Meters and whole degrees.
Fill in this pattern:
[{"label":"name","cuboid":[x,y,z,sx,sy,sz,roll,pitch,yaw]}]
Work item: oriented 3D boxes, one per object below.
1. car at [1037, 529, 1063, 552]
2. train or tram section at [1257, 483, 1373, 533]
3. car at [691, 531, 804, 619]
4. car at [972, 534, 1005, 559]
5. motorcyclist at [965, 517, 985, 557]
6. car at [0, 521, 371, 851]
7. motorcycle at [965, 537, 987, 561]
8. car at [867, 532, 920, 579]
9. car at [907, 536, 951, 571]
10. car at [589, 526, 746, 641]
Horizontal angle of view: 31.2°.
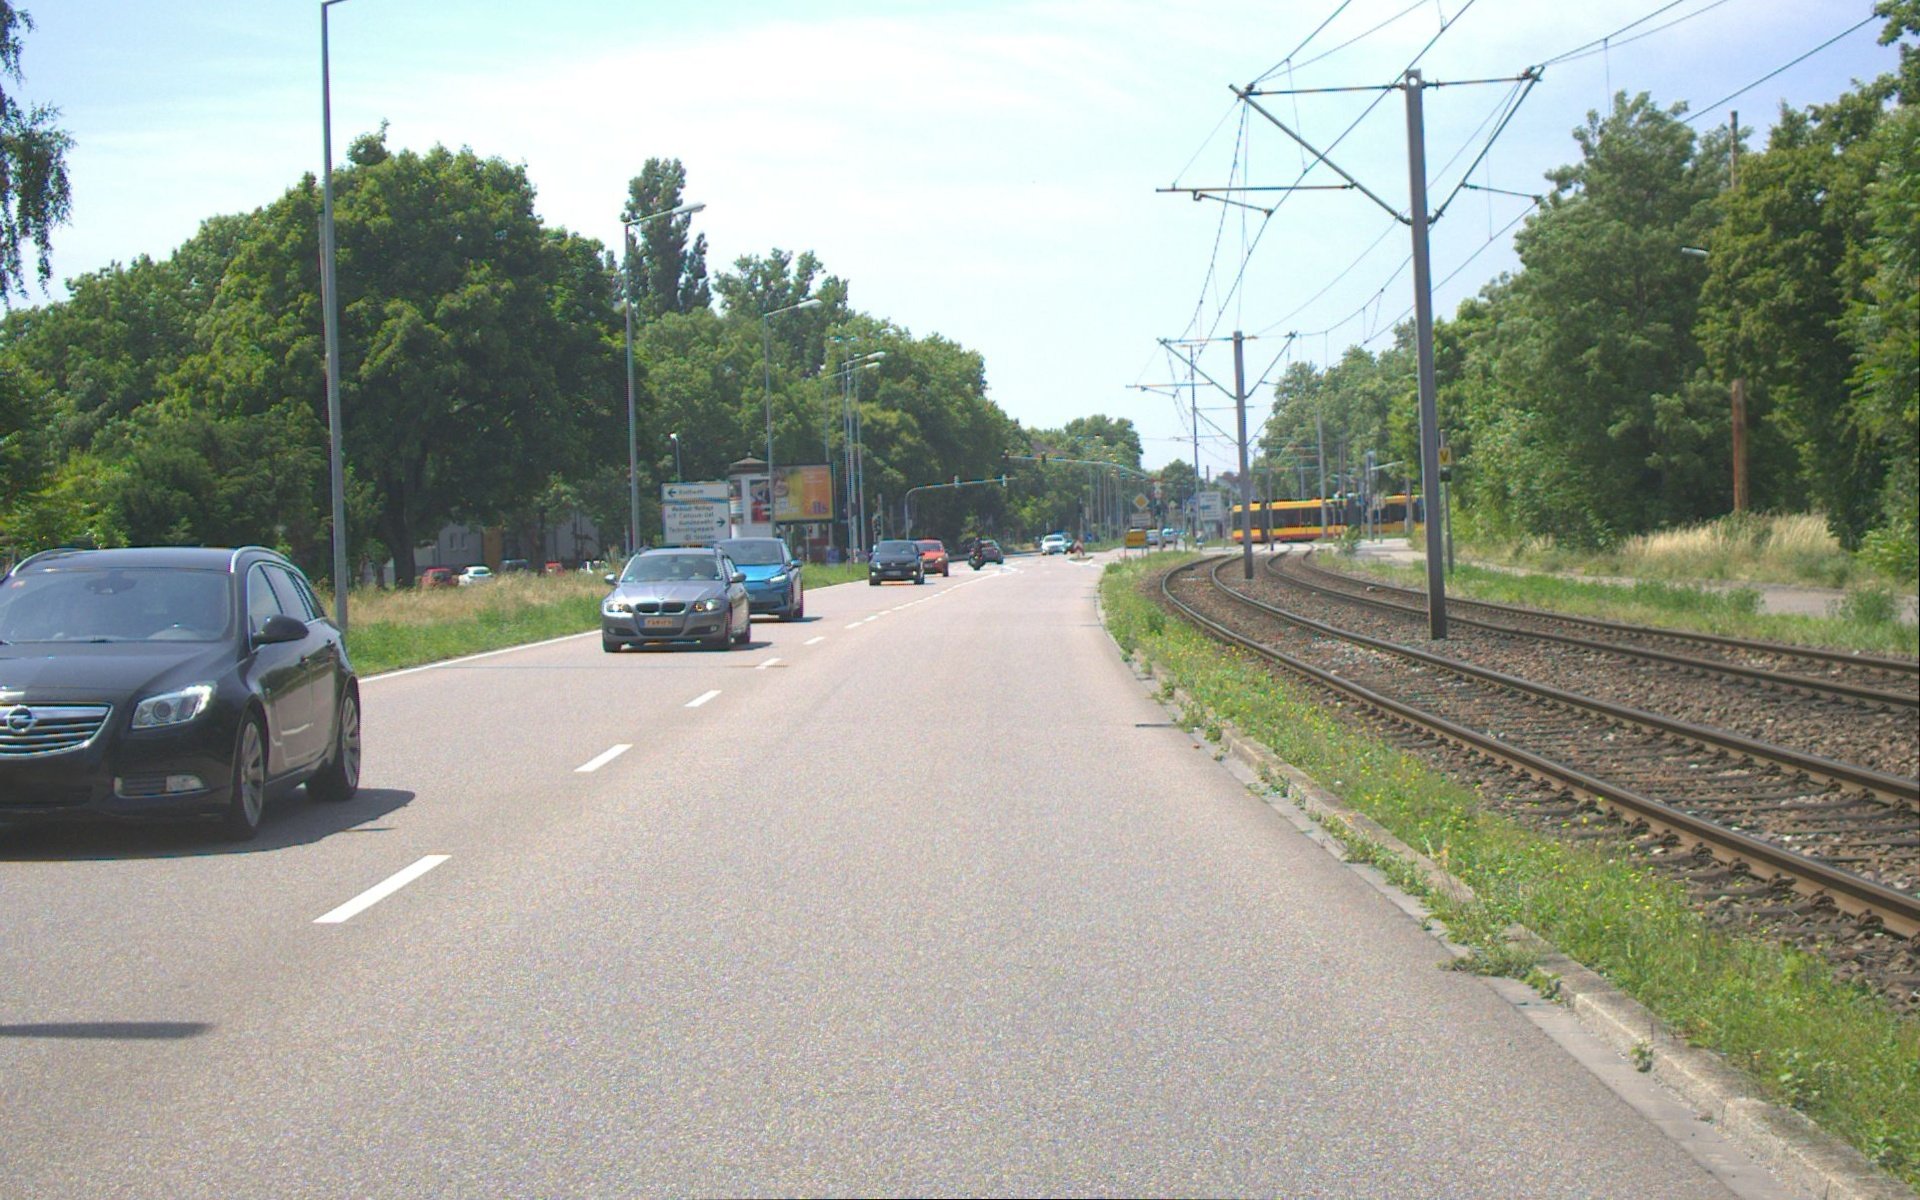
[{"label":"car","cuboid":[6.701,-4.435,256.293,1.823,1.609,4.363,-1,1,1]},{"label":"train or tram section","cuboid":[26.431,-6.837,256.309,8.482,3.484,2.369,-1,1,5]},{"label":"car","cuboid":[-3.910,-0.485,63.911,1.817,1.532,4.364,-1,1,0]},{"label":"car","cuboid":[1.635,-3.071,198.555,1.627,1.390,4.363,-1,1,4]},{"label":"motorcyclist","cuboid":[0.718,-2.997,163.571,0.891,1.898,1.015,-1,1,1]},{"label":"car","cuboid":[-4.417,0.376,18.266,1.817,1.523,4.364,-1,1,0]},{"label":"motorcycle","cuboid":[0.750,-2.436,163.595,0.970,1.113,2.733,-1,1,1]},{"label":"car","cuboid":[-2.165,-1.453,112.403,1.627,1.485,4.364,-1,1,0]},{"label":"car","cuboid":[-1.185,-1.812,133.454,1.627,1.310,4.363,-1,1,0]},{"label":"car","cuboid":[-4.046,-0.254,48.123,1.817,1.488,4.364,-1,1,0]}]
